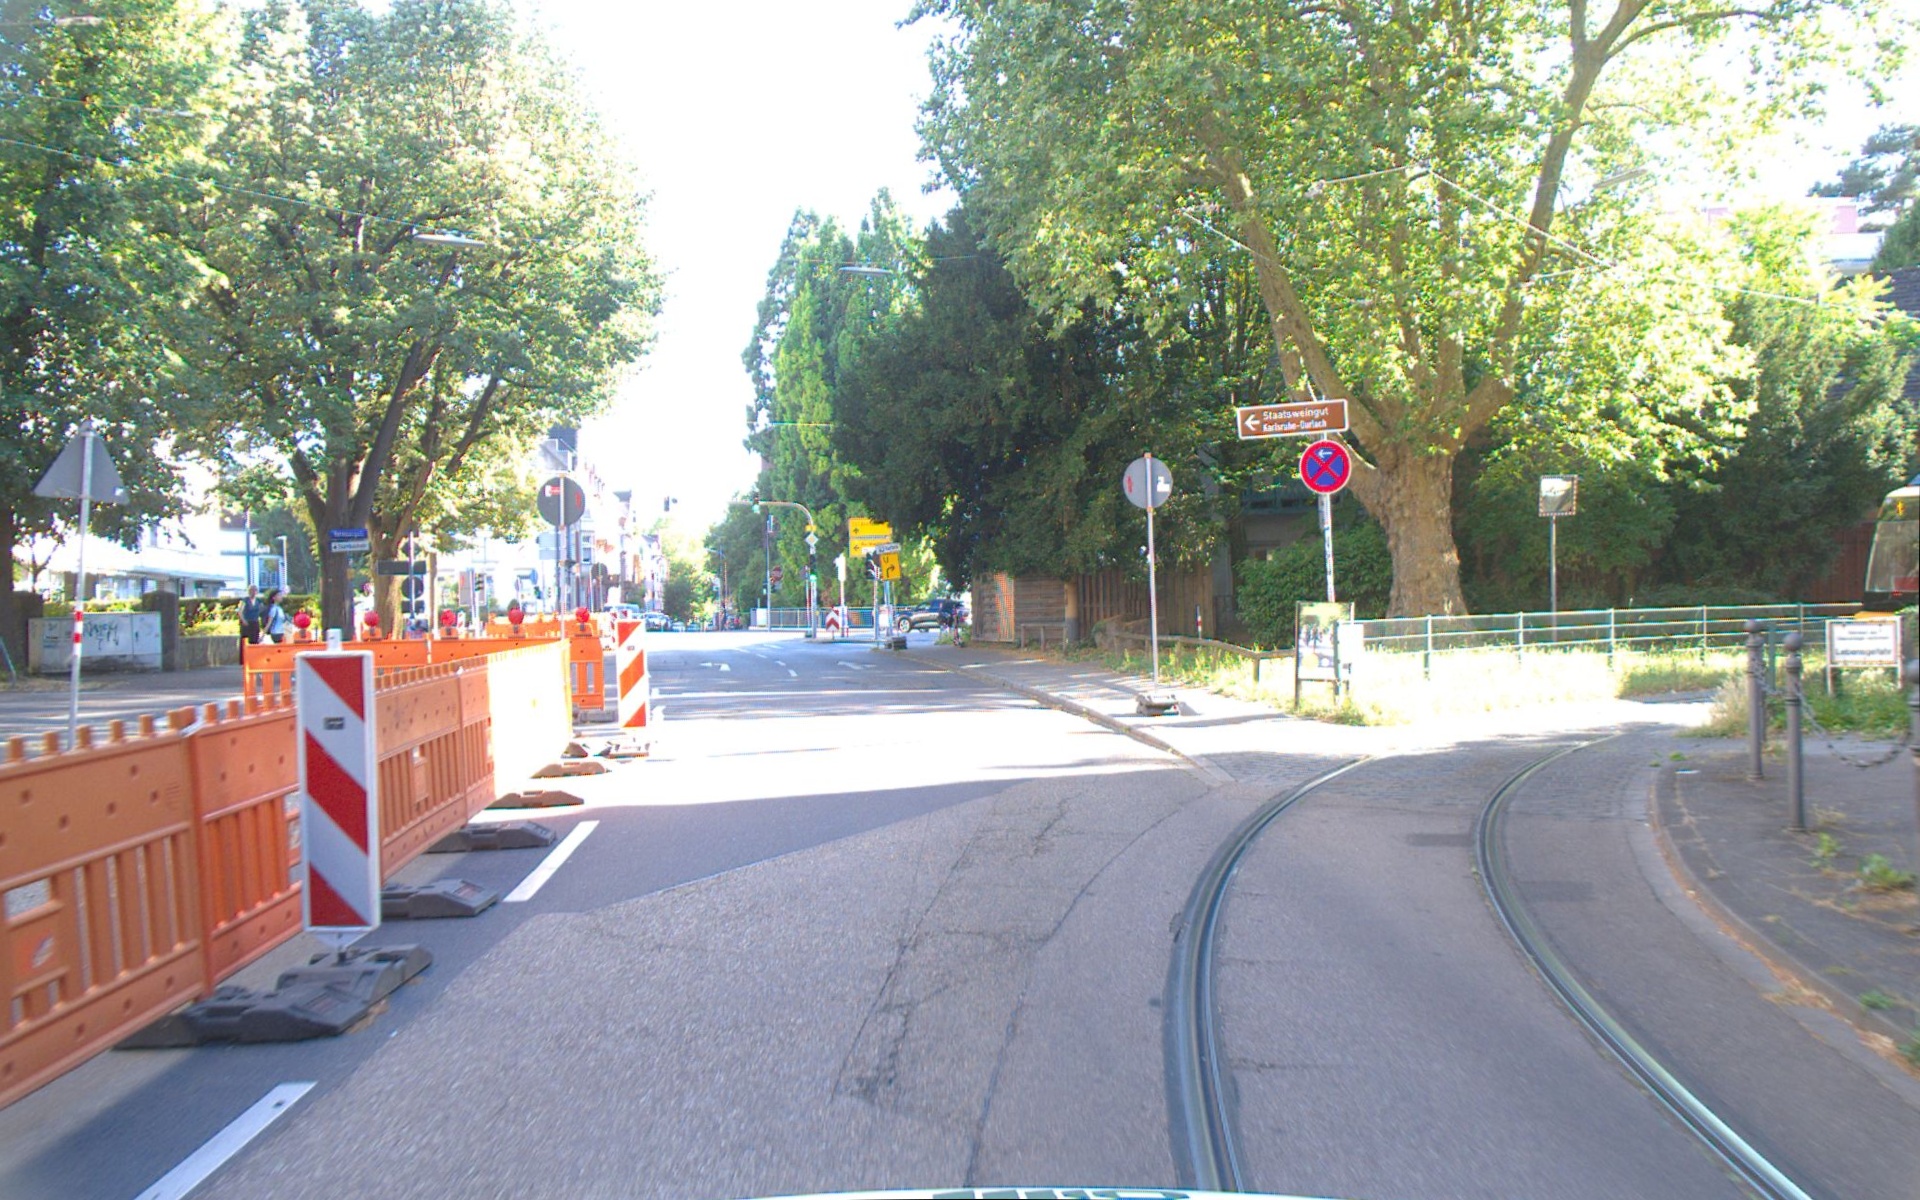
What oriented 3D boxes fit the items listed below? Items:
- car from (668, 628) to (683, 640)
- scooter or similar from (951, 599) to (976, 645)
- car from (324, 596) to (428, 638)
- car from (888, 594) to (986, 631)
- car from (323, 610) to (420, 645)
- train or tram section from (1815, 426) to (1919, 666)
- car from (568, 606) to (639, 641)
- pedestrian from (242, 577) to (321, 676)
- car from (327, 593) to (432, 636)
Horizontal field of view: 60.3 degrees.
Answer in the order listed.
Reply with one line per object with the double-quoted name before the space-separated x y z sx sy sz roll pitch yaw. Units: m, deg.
"car" -41.828 4.958 243.304 1.956 1.517 4.462 -2 0 -8
"scooter or similar" 0.094 0.593 45.228 0.430 1.222 1.256 -4 0 -8
"car" -27.128 0.764 76.888 4.233 1.884 1.996 0 0 -9
"car" -1.156 0.654 82.120 4.567 1.700 1.994 -1 -3 34
"car" -26.293 1.214 74.009 3.925 1.505 1.992 -1 0 -16
"train or tram section" 18.634 -0.817 26.259 9.063 3.581 2.793 0 0 -8
"car" -20.914 1.364 97.035 4.178 1.847 1.988 0 3 43
"pedestrian" -12.833 0.492 31.318 1.022 1.812 1.191 -1 0 -4
"car" -27.951 0.692 79.796 4.587 1.999 2.110 0 0 -14
